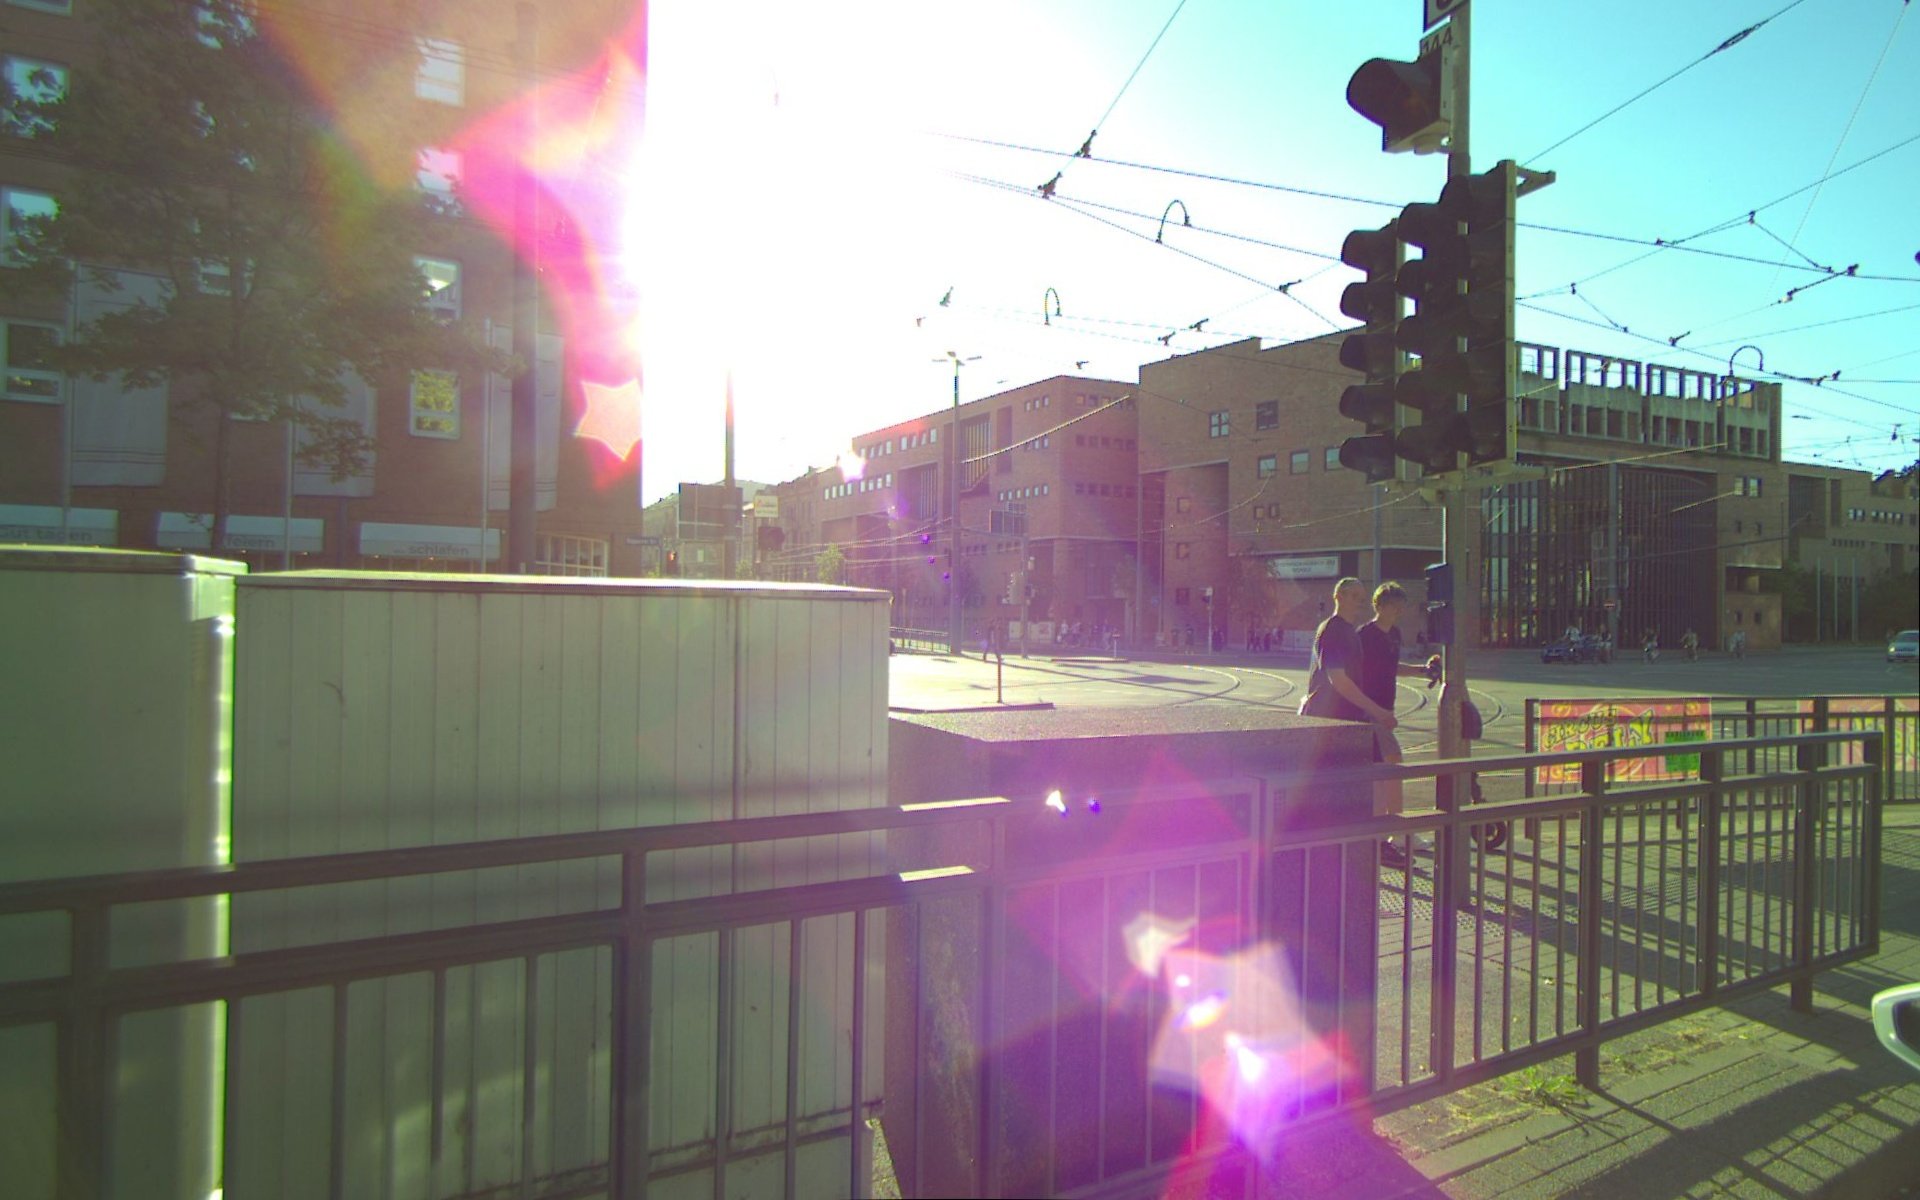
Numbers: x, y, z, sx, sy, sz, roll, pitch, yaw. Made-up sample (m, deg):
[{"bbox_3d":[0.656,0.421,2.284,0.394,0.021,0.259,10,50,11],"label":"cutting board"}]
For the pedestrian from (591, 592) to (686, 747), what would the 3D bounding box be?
[{"bbox_3d":[-4.006,0.832,12.484,0.945,1.822,0.986,2,0,-27],"label":"pedestrian"}]

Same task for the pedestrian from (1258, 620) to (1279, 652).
[{"bbox_3d":[20.155,2.333,65.677,0.841,2.079,1.001,1,-1,-32],"label":"pedestrian"}]

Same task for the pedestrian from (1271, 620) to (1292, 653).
[{"bbox_3d":[20.744,2.357,64.806,0.841,2.079,1.001,1,-1,-32],"label":"pedestrian"}]

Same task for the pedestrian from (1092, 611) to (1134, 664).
[{"bbox_3d":[6.062,1.467,39.825,1.193,2.040,1.028,2,0,-30],"label":"pedestrian"}]

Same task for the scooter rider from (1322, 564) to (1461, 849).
[{"bbox_3d":[3.018,0.723,7.038,0.670,1.877,0.564,3,-2,-25],"label":"scooter rider"}]

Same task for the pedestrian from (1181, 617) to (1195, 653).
[{"bbox_3d":[13.092,1.994,57.672,0.603,2.040,0.731,0,-1,30],"label":"pedestrian"}]

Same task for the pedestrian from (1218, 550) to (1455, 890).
[{"bbox_3d":[2.347,0.695,6.376,0.843,1.908,1.164,1,-1,-25],"label":"pedestrian"}]

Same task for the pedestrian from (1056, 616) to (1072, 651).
[{"bbox_3d":[6.130,1.988,59.329,0.607,2.040,0.727,1,-1,-32],"label":"pedestrian"}]

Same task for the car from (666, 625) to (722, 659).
[{"bbox_3d":[-14.371,2.222,54.108,1.739,1.750,3.963,1,-2,-33],"label":"car"}]

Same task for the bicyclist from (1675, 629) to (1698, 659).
[{"bbox_3d":[37.493,2.266,51.849,1.022,1.494,0.649,2,-1,-35],"label":"bicyclist"}]

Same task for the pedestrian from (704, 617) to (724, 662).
[{"bbox_3d":[-11.198,1.781,45.685,0.597,2.040,0.848,1,-1,-38],"label":"pedestrian"}]

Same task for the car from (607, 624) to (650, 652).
[{"bbox_3d":[-21.612,2.432,65.335,1.738,1.750,3.965,1,-2,-32],"label":"car"}]

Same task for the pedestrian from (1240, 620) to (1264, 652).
[{"bbox_3d":[18.797,2.336,64.666,0.902,2.040,1.151,1,-1,-34],"label":"pedestrian"}]

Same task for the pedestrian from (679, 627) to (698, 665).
[{"bbox_3d":[-13.405,2.273,49.534,0.597,1.843,0.848,1,-1,-38],"label":"pedestrian"}]

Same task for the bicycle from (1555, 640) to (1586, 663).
[{"bbox_3d":[27.632,2.304,45.461,1.886,1.011,0.647,2,-2,-41],"label":"bicycle"}]

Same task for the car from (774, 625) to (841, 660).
[{"bbox_3d":[-7.811,2.143,51.178,1.978,1.709,3.965,1,-2,-33],"label":"car"}]

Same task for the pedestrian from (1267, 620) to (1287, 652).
[{"bbox_3d":[20.999,2.369,66.574,0.841,2.079,1.001,1,-1,-32],"label":"pedestrian"}]

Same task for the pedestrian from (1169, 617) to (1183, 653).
[{"bbox_3d":[12.462,2.003,58.008,0.603,2.040,0.731,0,-1,30],"label":"pedestrian"}]

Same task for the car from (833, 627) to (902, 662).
[{"bbox_3d":[-4.821,2.237,51.803,1.978,1.709,3.965,1,-2,-33],"label":"car"}]

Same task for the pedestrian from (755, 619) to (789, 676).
[{"bbox_3d":[-6.022,1.506,32.155,0.860,1.775,0.670,1,-2,-39],"label":"pedestrian"}]

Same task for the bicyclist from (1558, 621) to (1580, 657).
[{"bbox_3d":[27.493,1.760,45.354,0.752,1.595,0.655,1,-2,-40],"label":"bicyclist"}]

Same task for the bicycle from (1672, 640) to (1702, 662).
[{"bbox_3d":[37.521,2.628,51.853,1.993,1.064,0.647,2,-1,-35],"label":"bicycle"}]

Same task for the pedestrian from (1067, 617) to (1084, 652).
[{"bbox_3d":[6.828,2.011,59.208,0.644,2.040,0.780,1,-1,-32],"label":"pedestrian"}]

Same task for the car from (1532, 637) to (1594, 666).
[{"bbox_3d":[30.713,2.583,51.117,3.684,1.394,1.568,2,-2,-39],"label":"car"}]

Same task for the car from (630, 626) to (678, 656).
[{"bbox_3d":[-18.362,2.421,60.151,1.738,1.750,3.965,1,-2,-32],"label":"car"}]

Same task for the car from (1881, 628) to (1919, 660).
[{"bbox_3d":[48.959,2.257,51.690,3.962,1.598,1.610,1,-2,-36],"label":"car"}]

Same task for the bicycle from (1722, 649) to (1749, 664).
[{"bbox_3d":[42.695,3.124,55.284,1.948,0.781,0.586,1,-2,-35],"label":"bicycle"}]

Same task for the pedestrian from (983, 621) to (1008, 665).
[{"bbox_3d":[1.493,1.784,41.886,0.797,1.801,0.623,2,0,-30],"label":"pedestrian"}]

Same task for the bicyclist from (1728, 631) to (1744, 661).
[{"bbox_3d":[42.748,2.541,55.333,0.509,1.647,0.583,1,-1,-35],"label":"bicyclist"}]

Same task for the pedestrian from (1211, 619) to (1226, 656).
[{"bbox_3d":[14.226,2.067,55.235,0.603,2.040,0.731,0,-1,30],"label":"pedestrian"}]

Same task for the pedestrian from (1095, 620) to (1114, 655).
[{"bbox_3d":[8.330,2.175,57.977,0.742,2.010,0.780,1,-1,-32],"label":"pedestrian"}]

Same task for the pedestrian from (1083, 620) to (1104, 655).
[{"bbox_3d":[7.639,2.152,57.493,0.917,2.010,0.780,1,-1,-32],"label":"pedestrian"}]

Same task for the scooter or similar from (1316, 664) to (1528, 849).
[{"bbox_3d":[3.134,1.011,6.902,0.639,1.095,1.199,1,-1,-25],"label":"scooter or similar"}]

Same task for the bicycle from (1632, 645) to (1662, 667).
[{"bbox_3d":[34.013,2.768,49.726,1.884,1.011,0.688,1,-2,-37],"label":"bicycle"}]

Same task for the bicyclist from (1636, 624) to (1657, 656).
[{"bbox_3d":[34.035,1.990,49.769,0.752,1.590,0.656,1,-2,-37],"label":"bicyclist"}]

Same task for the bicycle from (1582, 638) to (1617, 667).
[{"bbox_3d":[28.446,2.329,44.680,2.093,1.157,0.679,-1,0,-40],"label":"bicycle"}]

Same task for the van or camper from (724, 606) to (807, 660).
[{"bbox_3d":[-9.338,1.566,47.914,1.981,2.451,4.980,1,-2,-36],"label":"van or camper"}]

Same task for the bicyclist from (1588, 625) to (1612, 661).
[{"bbox_3d":[28.476,1.896,44.705,0.752,1.581,0.676,-1,0,-40],"label":"bicyclist"}]
